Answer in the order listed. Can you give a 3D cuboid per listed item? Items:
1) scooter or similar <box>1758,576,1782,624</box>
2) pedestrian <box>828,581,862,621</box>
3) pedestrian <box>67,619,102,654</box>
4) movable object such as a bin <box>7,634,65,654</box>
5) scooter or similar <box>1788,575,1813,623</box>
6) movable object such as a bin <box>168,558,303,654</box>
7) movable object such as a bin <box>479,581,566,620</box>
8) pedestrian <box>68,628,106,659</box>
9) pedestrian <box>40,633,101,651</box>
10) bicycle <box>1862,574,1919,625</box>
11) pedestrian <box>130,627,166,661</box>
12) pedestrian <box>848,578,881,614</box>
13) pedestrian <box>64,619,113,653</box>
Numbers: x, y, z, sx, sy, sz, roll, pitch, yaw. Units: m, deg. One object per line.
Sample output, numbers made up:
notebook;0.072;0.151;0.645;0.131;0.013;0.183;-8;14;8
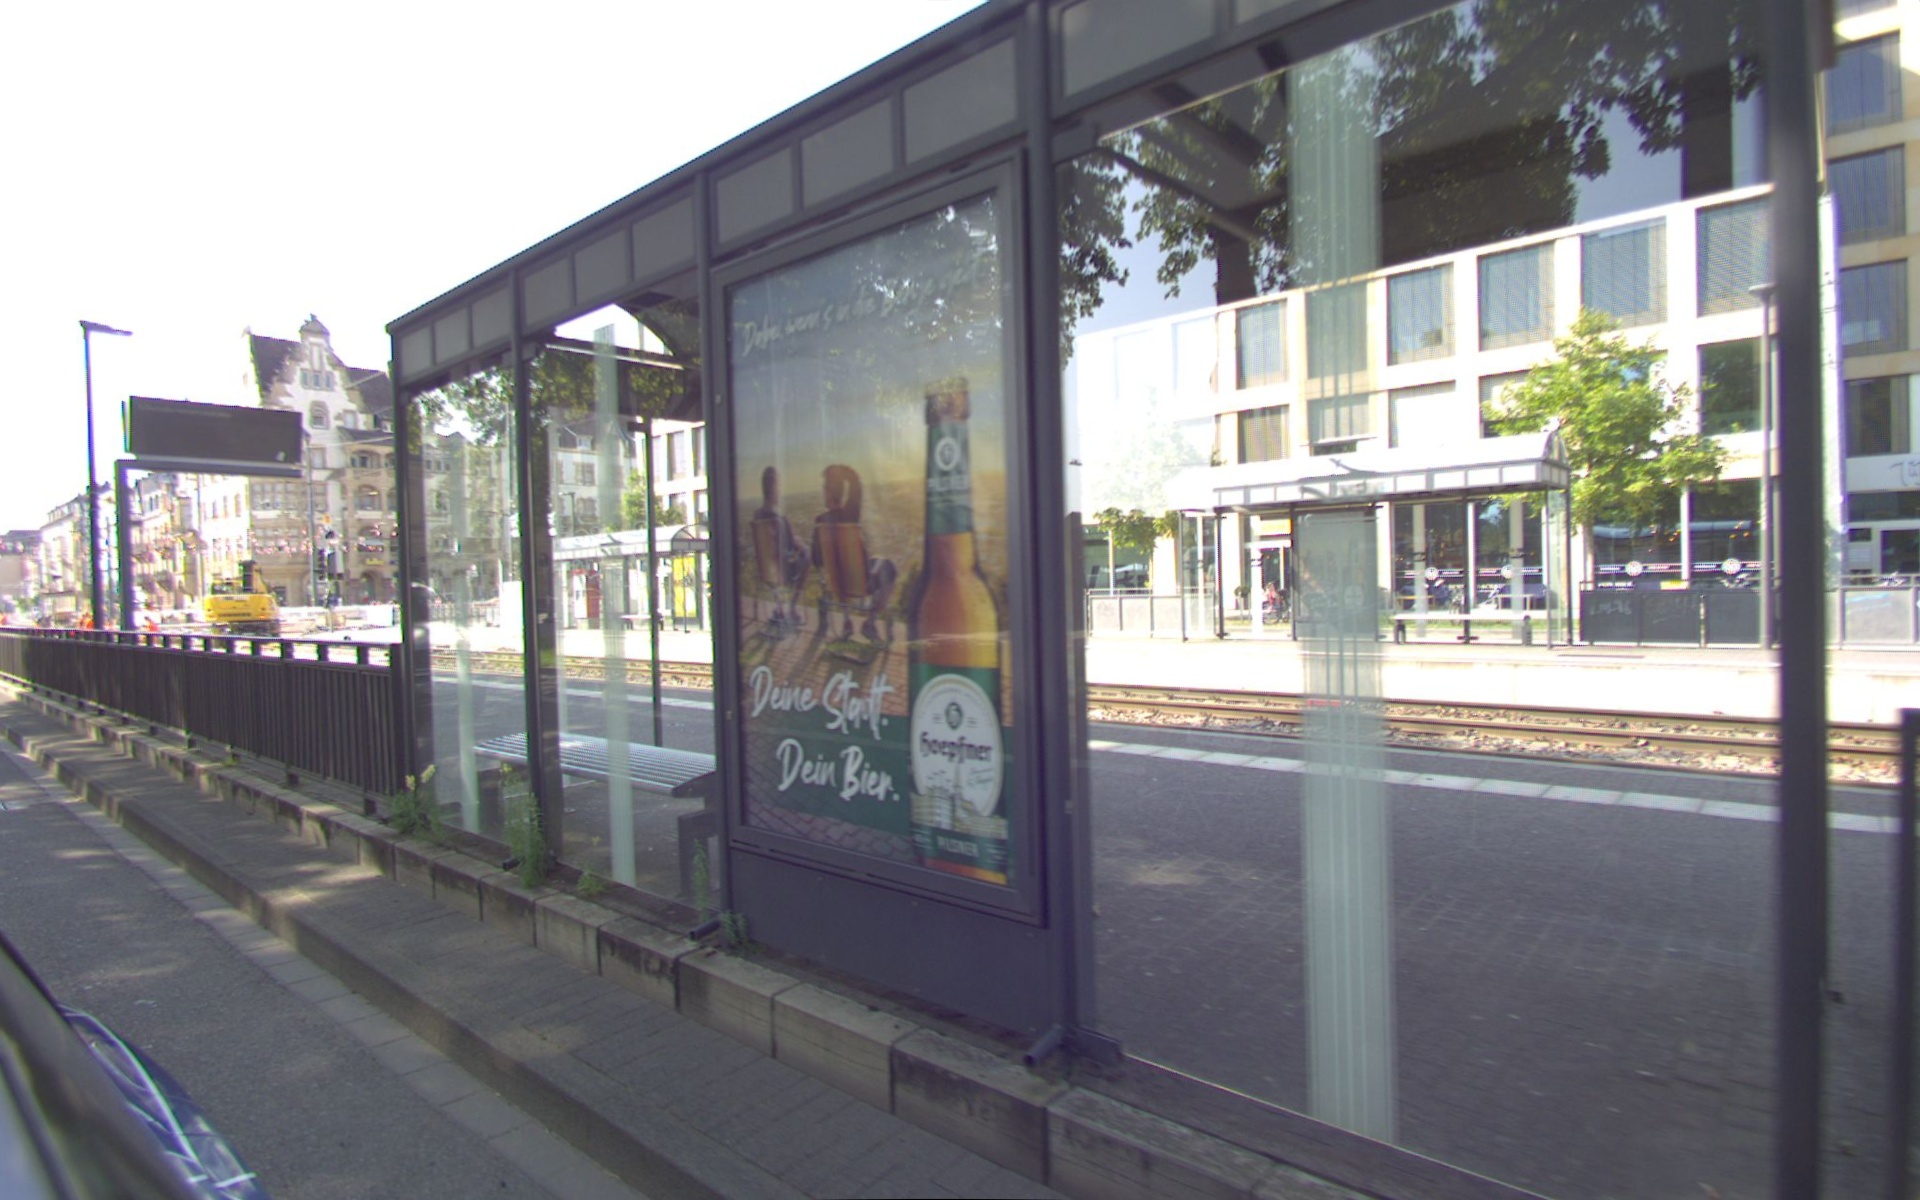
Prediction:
scooter or similar;17.700;-0.007;22.100;0.371;0.993;1.486;-2;0;40
pedestrian;-5.197;0.047;45.728;1.123;1.765;0.966;-2;0;41
pedestrian;-34.597;1.439;40.011;0.825;1.316;0.801;-2;0;-24
movable object such as a bin;-35.041;1.680;38.409;1.484;0.657;0.703;-2;0;-27
scooter or similar;18.113;-0.036;21.809;0.395;0.993;1.507;-2;0;40
movable object such as a bin;-34.032;0.270;47.985;3.454;4.043;9.071;-2;0;-25
movable object such as a bin;-32.573;0.016;75.465;2.134;2.760;5.555;-1;1;41
pedestrian;-36.055;1.786;41.797;0.968;1.199;0.801;-2;0;-24
pedestrian;-37.803;1.784;43.033;0.913;0.641;1.880;-2;1;45
bicycle;19.235;-0.031;20.881;0.821;0.993;2.408;-2;0;40
pedestrian;-32.766;1.770;40.816;1.003;1.316;0.983;-2;0;-45
pedestrian;-4.372;-0.194;46.403;1.123;1.609;0.966;-2;0;41
pedestrian;-35.097;1.437;40.794;1.293;1.316;0.801;-2;0;-24
